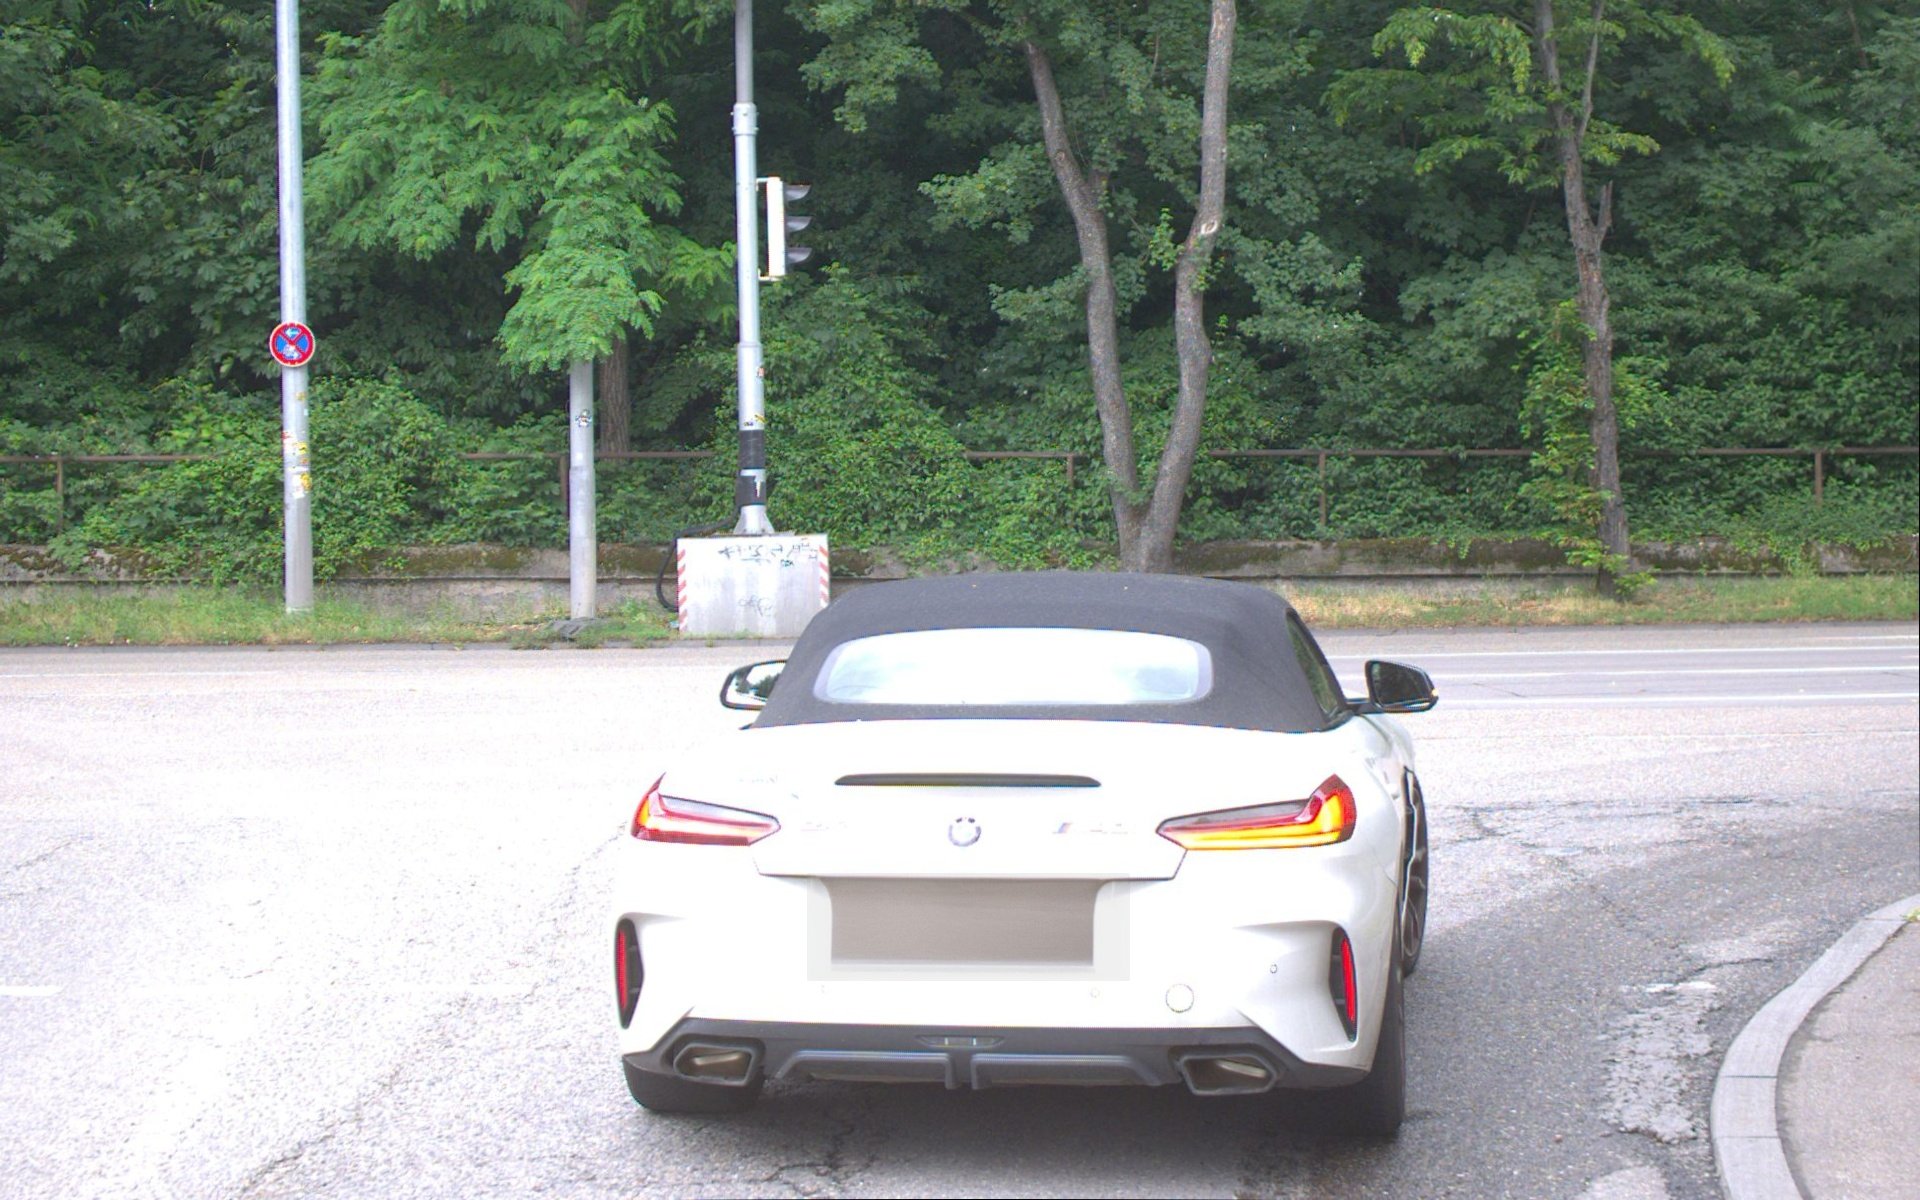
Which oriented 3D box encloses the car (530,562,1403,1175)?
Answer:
[{"bbox_3d":[0.174,0.592,9.221,1.828,1.253,3.999,1,-1,5],"label":"car"}]
